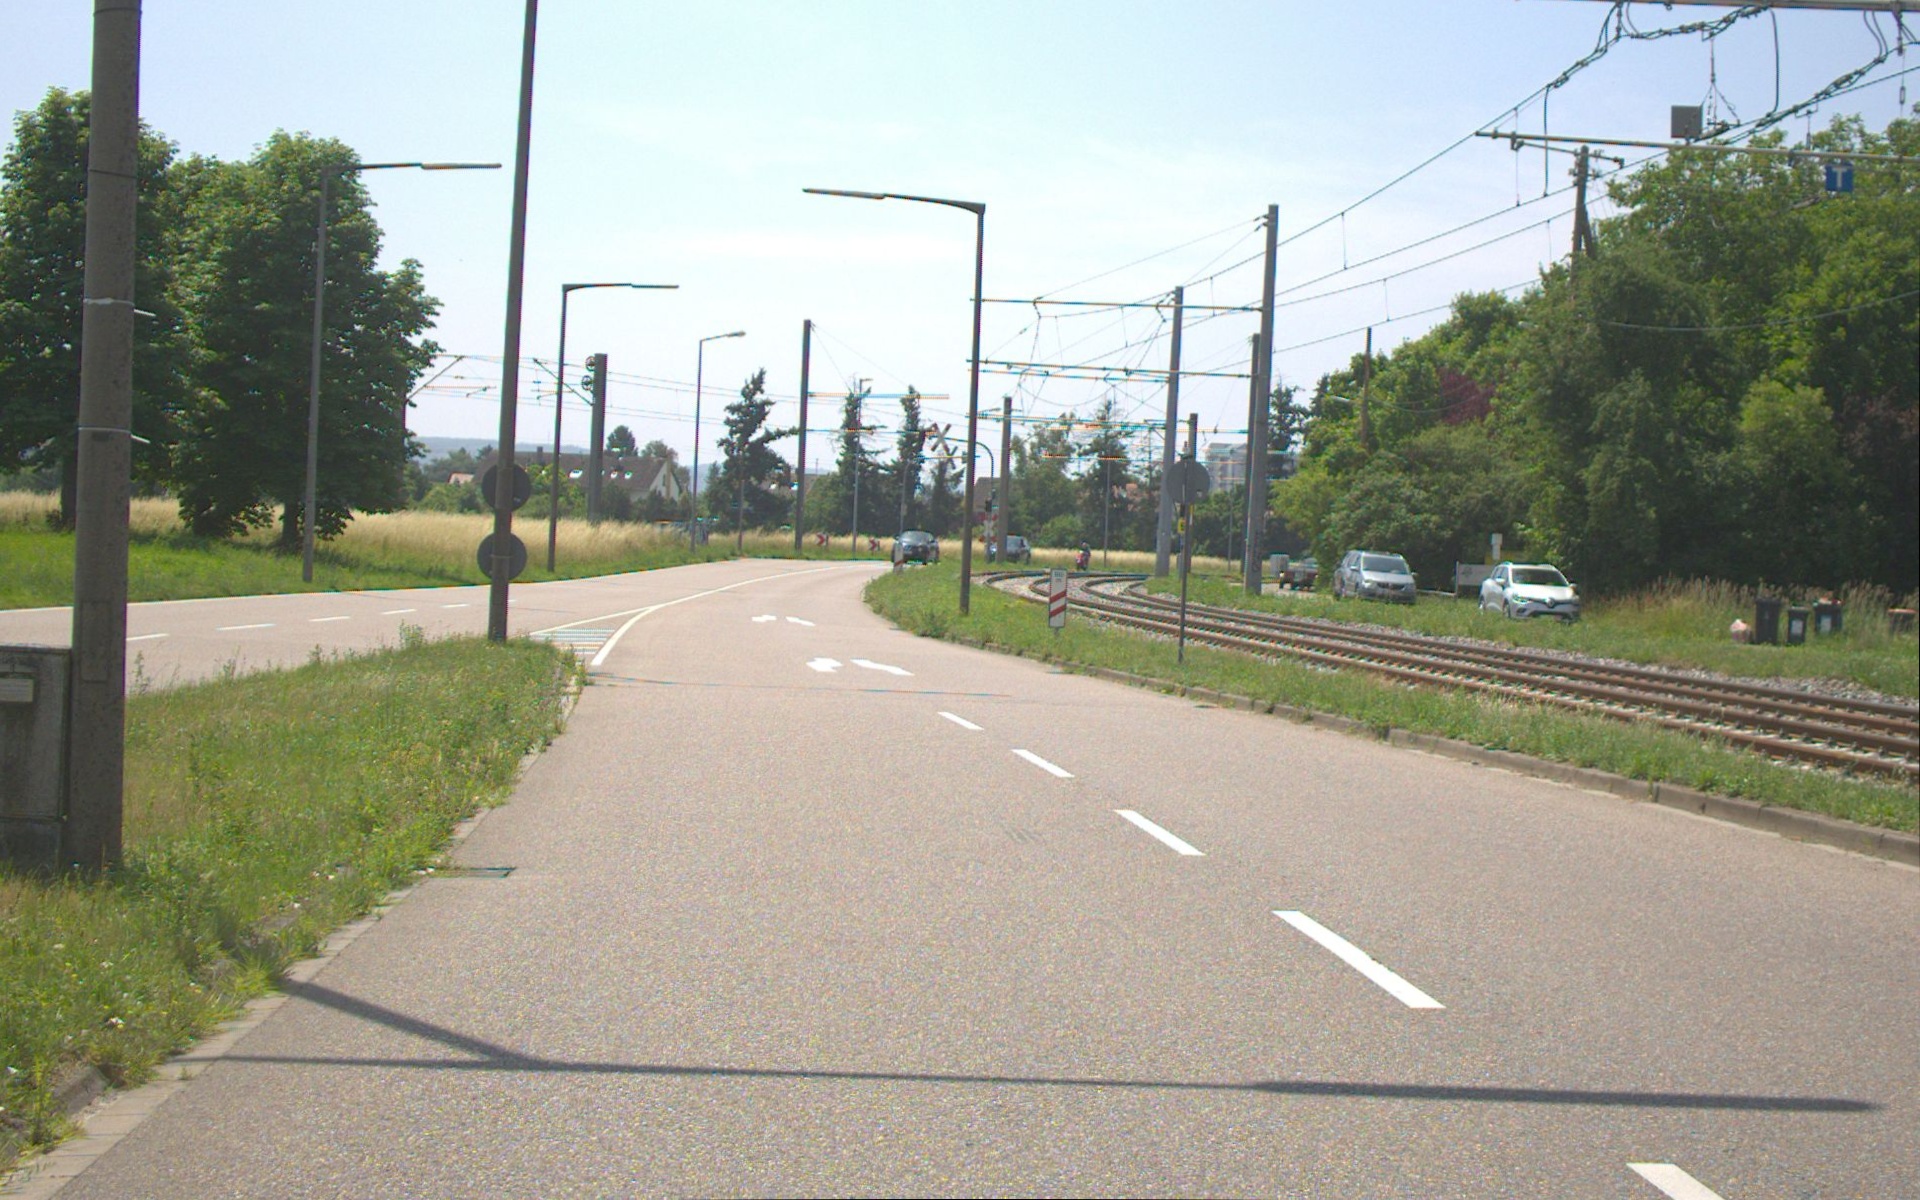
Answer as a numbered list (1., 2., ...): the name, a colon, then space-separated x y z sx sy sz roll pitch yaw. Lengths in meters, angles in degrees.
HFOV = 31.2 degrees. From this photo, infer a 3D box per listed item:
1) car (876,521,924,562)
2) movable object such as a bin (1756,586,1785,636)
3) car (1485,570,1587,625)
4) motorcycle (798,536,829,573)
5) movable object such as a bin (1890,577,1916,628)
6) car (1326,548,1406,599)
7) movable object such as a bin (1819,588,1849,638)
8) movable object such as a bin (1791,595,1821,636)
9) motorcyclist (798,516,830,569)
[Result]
1. car: -2.835 -2.784 162.906 1.404 1.765 3.252 4 0 14
2. movable object such as a bin: 17.330 0.226 73.503 0.525 1.046 0.499 2 1 8
3. car: 13.421 -0.074 80.218 1.562 1.175 3.080 2 1 -6
4. motorcycle: -6.747 -2.085 158.455 0.989 1.575 3.400 4 0 3
5. movable object such as a bin: 19.964 0.051 72.781 0.449 1.046 0.499 2 1 10
6. car: 12.233 -0.816 103.857 1.671 1.392 3.651 4 0 -4
7. movable object such as a bin: 18.588 0.276 73.108 0.525 1.046 0.499 2 1 8
8. movable object such as a bin: 18.064 0.330 73.415 0.525 0.861 0.499 2 1 8
9. motorcyclist: -6.729 -2.625 158.348 1.231 2.343 1.106 4 0 4
